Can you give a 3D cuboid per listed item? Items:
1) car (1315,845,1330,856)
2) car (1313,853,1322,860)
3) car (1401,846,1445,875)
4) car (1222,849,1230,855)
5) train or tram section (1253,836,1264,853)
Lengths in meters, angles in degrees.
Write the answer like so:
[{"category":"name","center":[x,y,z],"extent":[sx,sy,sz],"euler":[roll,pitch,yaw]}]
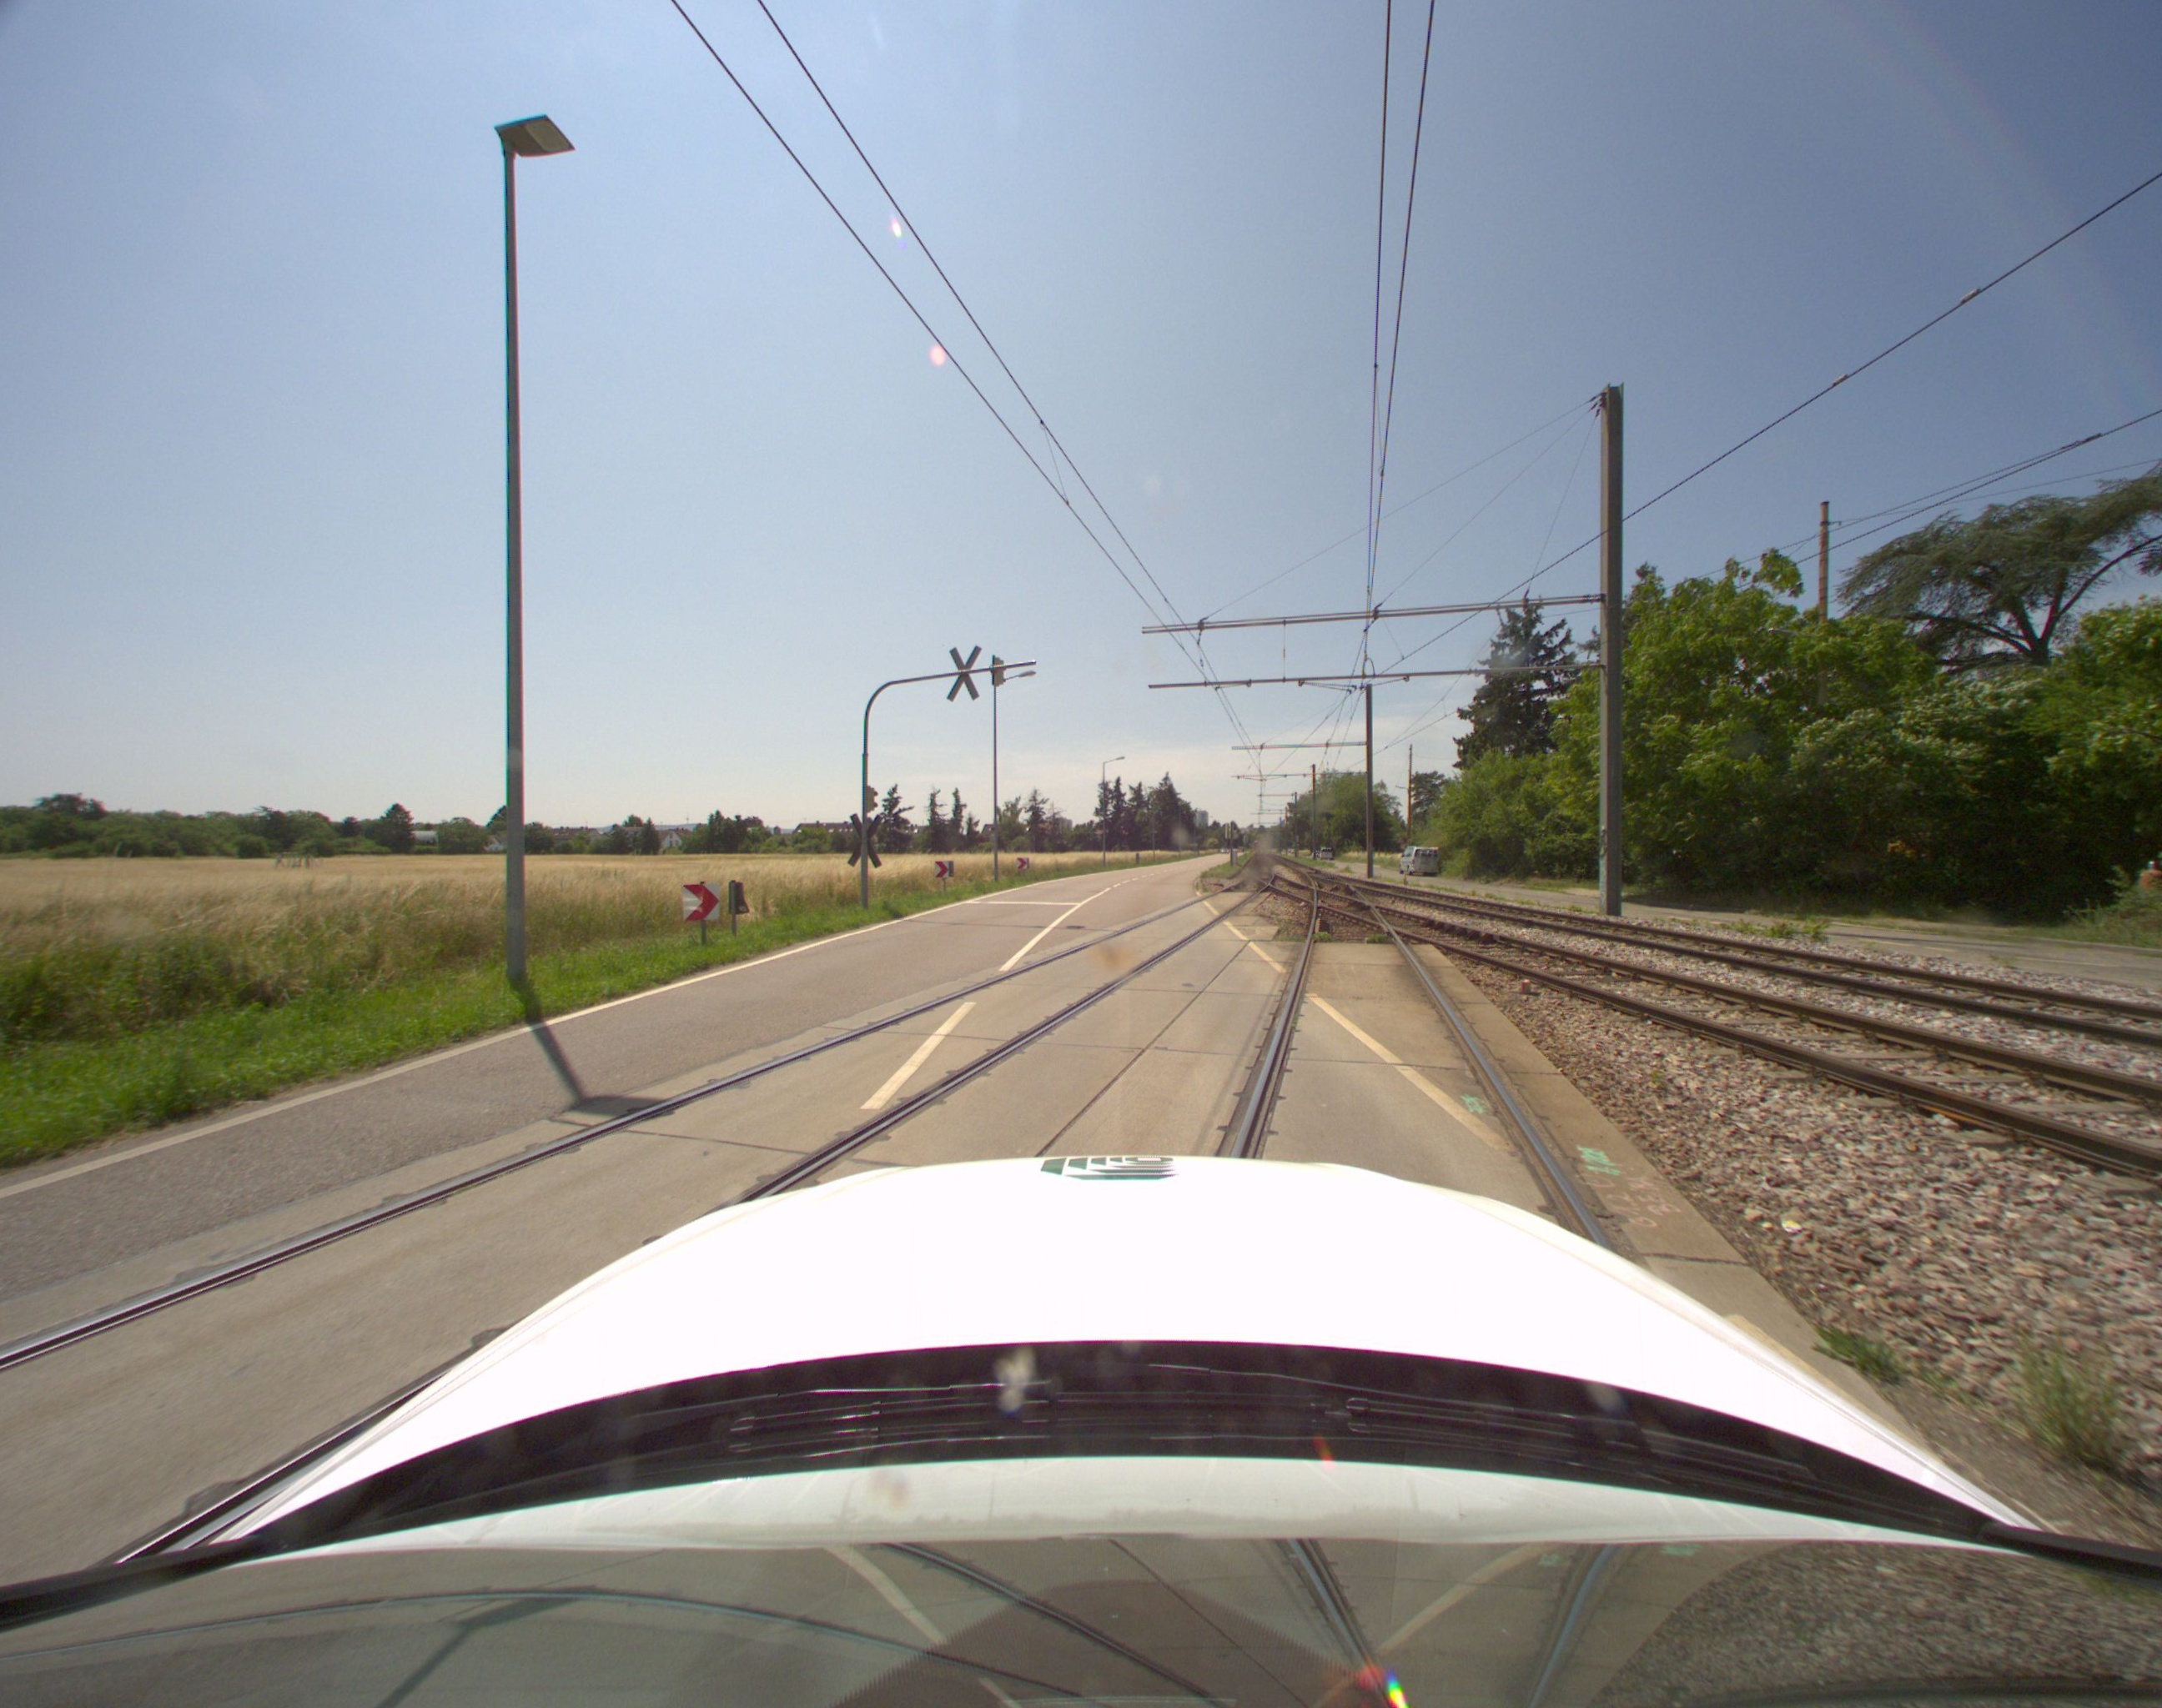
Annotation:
[{"category":"car","center":[39.034,-0.557,131.900],"extent":[1.980,1.802,4.810],"euler":[-1,-1,12]},{"category":"car","center":[43.745,0.401,150.686],"extent":[1.418,1.308,3.477],"euler":[-1,-1,12]},{"category":"car","center":[23.140,0.427,55.219],"extent":[2.021,1.882,5.088],"euler":[-1,-1,14]},{"category":"car","center":[38.578,-0.592,216.888],"extent":[1.822,1.467,4.693],"euler":[0,-1,12]},{"category":"train or tram section","center":[41.472,-2.138,190.625],"extent":[2.413,3.766,11.597],"euler":[-1,-1,12]}]
